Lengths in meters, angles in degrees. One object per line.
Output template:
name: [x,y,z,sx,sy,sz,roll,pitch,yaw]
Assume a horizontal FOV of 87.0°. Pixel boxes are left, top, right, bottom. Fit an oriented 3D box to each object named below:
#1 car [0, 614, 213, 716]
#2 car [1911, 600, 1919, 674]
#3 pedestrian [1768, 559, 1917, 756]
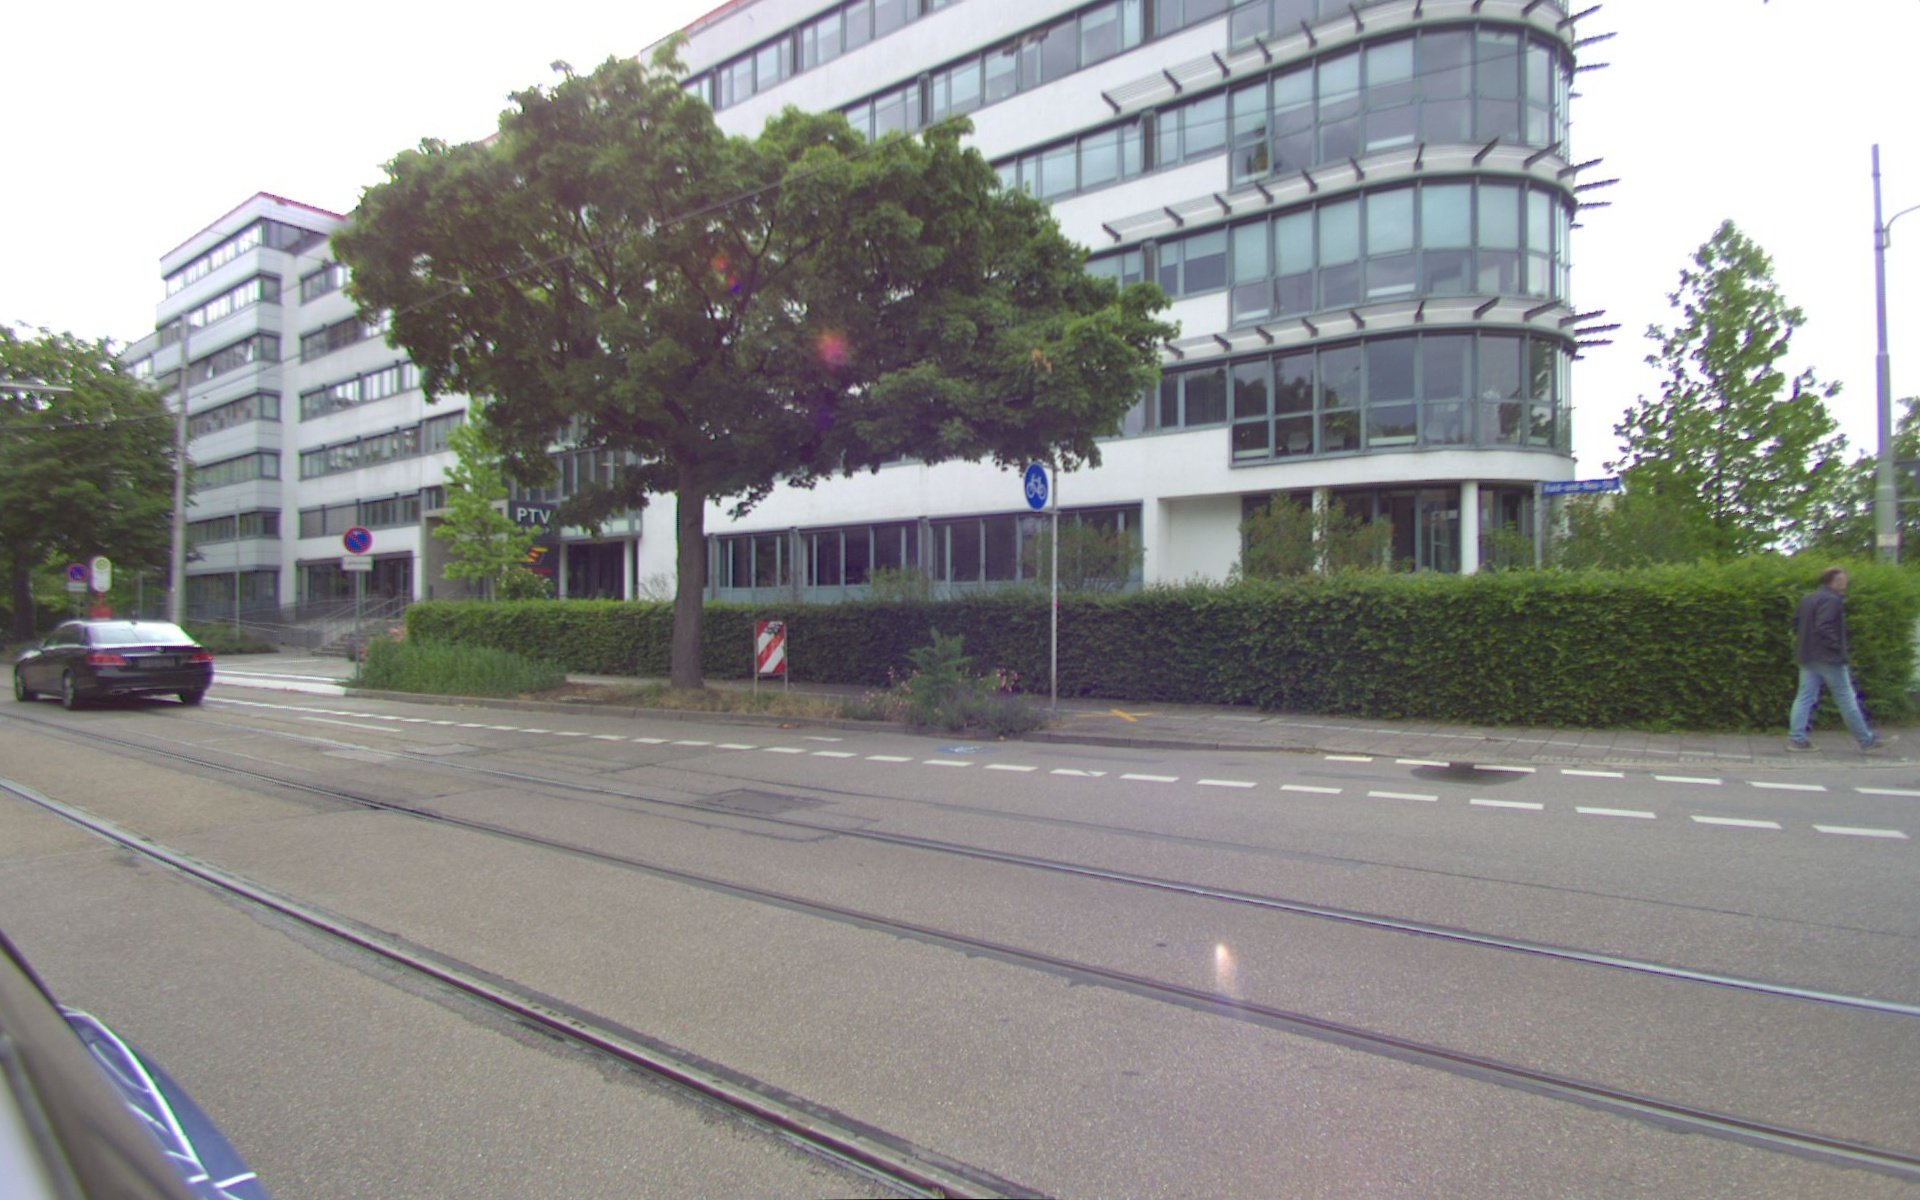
car: [-14.981,1.040,17.671,4.469,1.558,1.781,-1,-1,35]
car: [21.828,0.823,21.298,1.995,1.663,3.954,-1,-1,34]
pedestrian: [8.769,0.535,10.093,1.059,1.839,0.795,-1,0,41]
